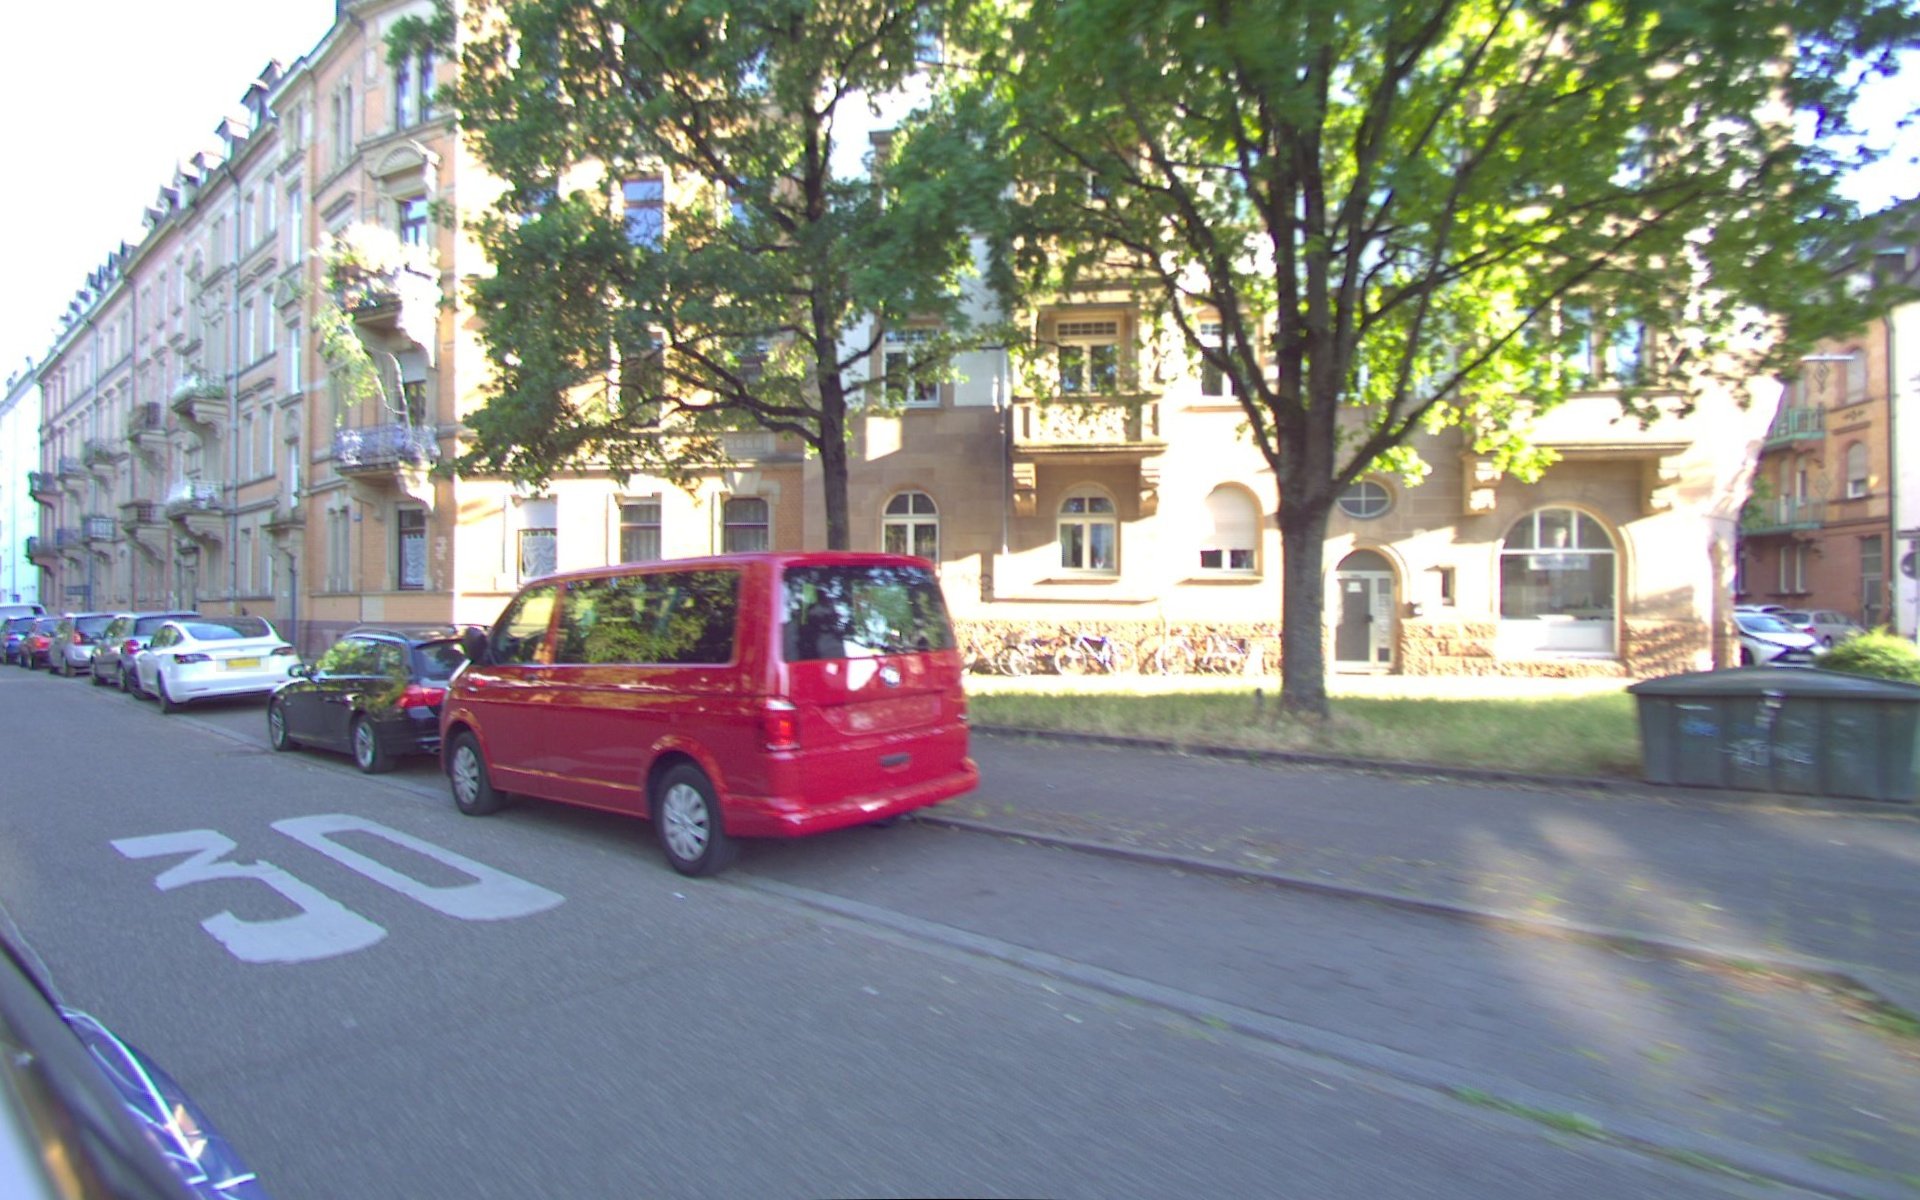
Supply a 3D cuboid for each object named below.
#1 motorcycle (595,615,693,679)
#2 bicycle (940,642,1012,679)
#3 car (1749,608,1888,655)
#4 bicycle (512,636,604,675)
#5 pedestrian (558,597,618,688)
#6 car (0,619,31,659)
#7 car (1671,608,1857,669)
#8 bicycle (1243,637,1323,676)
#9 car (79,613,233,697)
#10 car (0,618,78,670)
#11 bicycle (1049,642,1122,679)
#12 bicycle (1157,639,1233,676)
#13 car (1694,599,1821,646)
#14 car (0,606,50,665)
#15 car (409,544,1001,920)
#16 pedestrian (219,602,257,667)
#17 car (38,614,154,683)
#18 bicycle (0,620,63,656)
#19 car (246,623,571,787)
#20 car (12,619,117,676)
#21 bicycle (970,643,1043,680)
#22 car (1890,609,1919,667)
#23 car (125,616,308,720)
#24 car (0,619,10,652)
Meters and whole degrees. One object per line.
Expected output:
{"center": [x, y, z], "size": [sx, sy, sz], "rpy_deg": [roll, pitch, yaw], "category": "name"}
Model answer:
{"center": [-6.895, 1.017, 22.124], "size": [1.875, 1.363, 0.808], "rpy_deg": [-1, -2, 6], "category": "motorcycle"}
{"center": [0.331, 1.262, 21.219], "size": [1.491, 0.738, 0.368], "rpy_deg": [0, -1, 6], "category": "bicycle"}
{"center": [28.593, 1.036, 33.709], "size": [3.930, 1.517, 1.879], "rpy_deg": [1, -1, -22], "category": "car"}
{"center": [-8.947, 1.233, 22.543], "size": [1.876, 0.854, 0.524], "rpy_deg": [-1, -2, 6], "category": "bicycle"}
{"center": [-7.279, 0.819, 19.830], "size": [0.899, 1.731, 0.676], "rpy_deg": [-1, 2, -1], "category": "pedestrian"}
{"center": [-37.203, 1.505, 38.803], "size": [4.391, 1.452, 1.856], "rpy_deg": [-1, 0, 41], "category": "car"}
{"center": [19.945, 0.929, 25.358], "size": [1.852, 1.410, 3.990], "rpy_deg": [0, -1, 8], "category": "car"}
{"center": [6.570, 1.148, 20.616], "size": [1.491, 0.738, 0.368], "rpy_deg": [-2, -1, 6], "category": "bicycle"}
{"center": [-16.313, 1.049, 20.472], "size": [3.878, 1.486, 1.667], "rpy_deg": [-1, 0, 40], "category": "car"}
{"center": [-28.722, 1.313, 31.229], "size": [3.886, 1.449, 1.745], "rpy_deg": [-1, 0, 41], "category": "car"}
{"center": [2.587, 1.241, 20.964], "size": [1.491, 0.738, 0.368], "rpy_deg": [0, -1, 6], "category": "bicycle"}
{"center": [4.846, 1.185, 20.927], "size": [1.491, 0.738, 0.368], "rpy_deg": [0, -1, 6], "category": "bicycle"}
{"center": [28.994, 0.824, 36.799], "size": [3.930, 1.648, 1.879], "rpy_deg": [1, -1, -22], "category": "car"}
{"center": [-33.006, 1.221, 34.887], "size": [4.723, 1.897, 1.887], "rpy_deg": [-1, 0, 41], "category": "car"}
{"center": [-2.129, 0.704, 7.458], "size": [4.769, 1.948, 1.758], "rpy_deg": [-1, 0, 40], "category": "car"}
{"center": [-19.669, 0.925, 27.570], "size": [0.722, 1.731, 0.666], "rpy_deg": [-1, 0, 42], "category": "pedestrian"}
{"center": [-20.936, 1.122, 24.477], "size": [3.708, 1.486, 1.666], "rpy_deg": [-1, 0, 42], "category": "car"}
{"center": [-39.633, 1.600, 42.389], "size": [0.817, 1.496, 3.003], "rpy_deg": [-1, -3, 42], "category": "bicycle"}
{"center": [-6.308, 1.018, 11.370], "size": [4.267, 1.444, 1.758], "rpy_deg": [-1, 0, 40], "category": "car"}
{"center": [-24.829, 1.251, 28.001], "size": [4.289, 1.394, 1.744], "rpy_deg": [-1, 0, 43], "category": "car"}
{"center": [0.961, 1.253, 20.760], "size": [1.491, 0.738, 0.368], "rpy_deg": [0, -1, 6], "category": "bicycle"}
{"center": [28.122, 1.034, 27.625], "size": [3.937, 1.580, 1.876], "rpy_deg": [0, -1, -7], "category": "car"}
{"center": [-12.635, 1.043, 17.096], "size": [4.271, 1.486, 1.756], "rpy_deg": [-1, 0, 44], "category": "car"}
{"center": [-43.956, 1.604, 45.166], "size": [4.391, 1.452, 1.856], "rpy_deg": [-1, 0, 41], "category": "car"}
